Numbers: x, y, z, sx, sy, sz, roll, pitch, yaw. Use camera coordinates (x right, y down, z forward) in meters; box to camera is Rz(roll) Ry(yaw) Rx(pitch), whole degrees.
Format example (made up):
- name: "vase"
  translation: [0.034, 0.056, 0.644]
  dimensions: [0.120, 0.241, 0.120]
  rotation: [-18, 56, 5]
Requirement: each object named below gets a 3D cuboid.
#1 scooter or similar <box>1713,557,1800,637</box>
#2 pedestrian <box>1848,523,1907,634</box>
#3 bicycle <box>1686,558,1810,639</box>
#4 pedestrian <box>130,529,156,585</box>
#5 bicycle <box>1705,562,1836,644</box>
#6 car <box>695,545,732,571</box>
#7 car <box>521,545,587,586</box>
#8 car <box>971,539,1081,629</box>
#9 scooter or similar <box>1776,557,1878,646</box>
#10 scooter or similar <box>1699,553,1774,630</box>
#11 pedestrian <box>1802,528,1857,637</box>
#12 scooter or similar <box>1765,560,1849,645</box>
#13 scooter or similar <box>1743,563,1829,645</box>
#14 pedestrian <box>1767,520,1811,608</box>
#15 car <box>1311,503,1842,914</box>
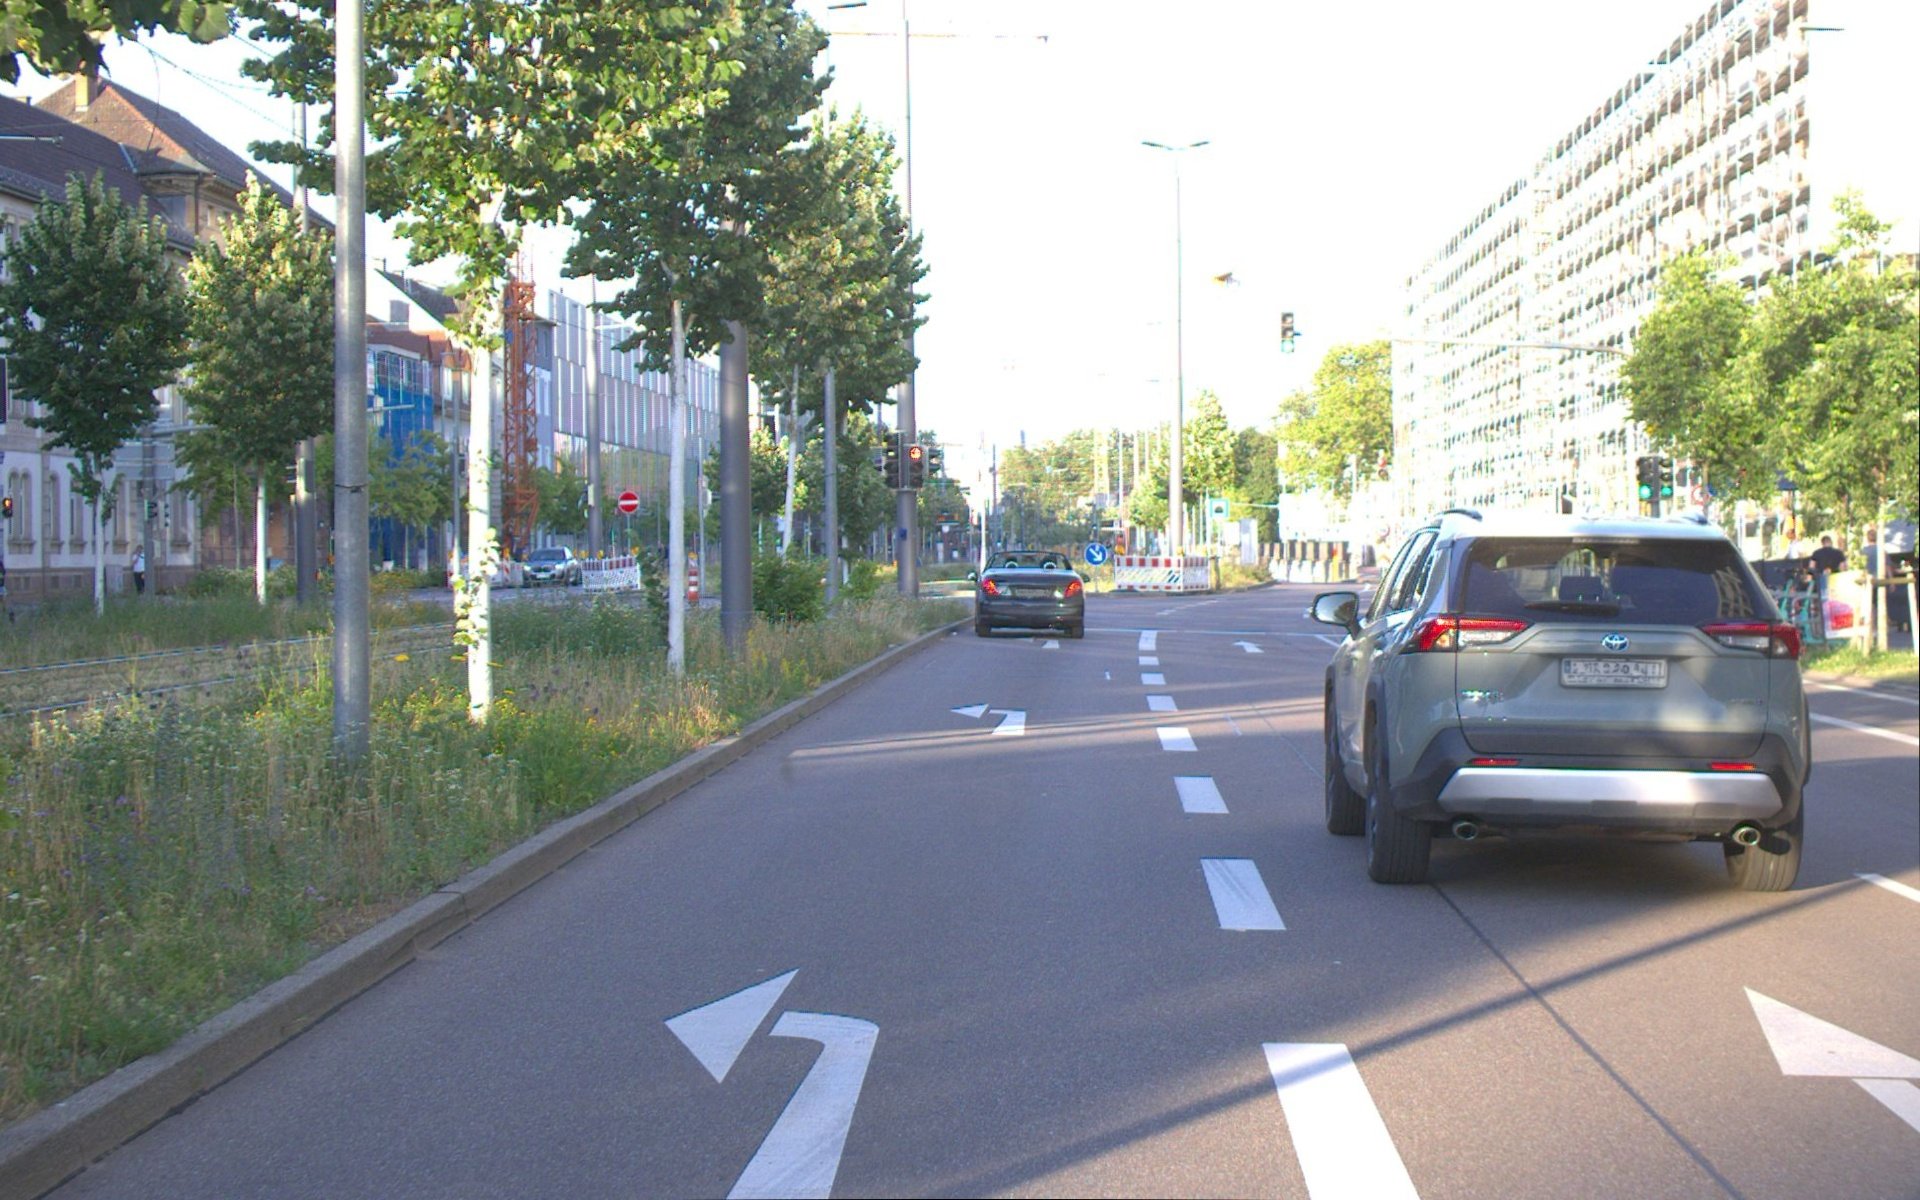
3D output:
- name: "scooter or similar"
  translation: [12.590, -0.048, 54.344]
  dimensions: [1.209, 1.197, 0.480]
  rotation: [-3, 1, -2]
- name: "pedestrian"
  translation: [14.666, -0.349, 54.960]
  dimensions: [0.685, 1.729, 0.761]
  rotation: [-3, 1, 2]
- name: "bicycle"
  translation: [12.570, -0.028, 54.879]
  dimensions: [1.793, 1.189, 0.568]
  rotation: [-3, 1, -2]
- name: "pedestrian"
  translation: [-25.404, -1.324, 106.907]
  dimensions: [0.702, 1.710, 0.813]
  rotation: [1, 1, -17]
- name: "bicycle"
  translation: [12.515, 0.044, 53.128]
  dimensions: [1.846, 1.178, 0.608]
  rotation: [-3, 1, 2]
- name: "car"
  translation: [-14.674, -2.514, 204.899]
  dimensions: [1.658, 1.426, 3.894]
  rotation: [2, 1, 4]
- name: "car"
  translation: [-16.671, -1.426, 141.304]
  dimensions: [1.994, 1.575, 4.124]
  rotation: [-2, 1, 3]
- name: "car"
  translation: [1.087, -0.278, 55.014]
  dimensions: [1.674, 1.347, 4.000]
  rotation: [1, 1, 2]
- name: "scooter or similar"
  translation: [12.535, 0.024, 49.720]
  dimensions: [1.294, 1.214, 0.535]
  rotation: [-3, 0, 26]
- name: "scooter or similar"
  translation: [12.925, -0.141, 57.221]
  dimensions: [1.051, 1.219, 0.598]
  rotation: [-2, 1, -2]
- name: "pedestrian"
  translation: [13.864, -0.285, 54.803]
  dimensions: [0.653, 1.696, 0.689]
  rotation: [-2, 1, 2]
- name: "scooter or similar"
  translation: [12.602, 0.043, 51.154]
  dimensions: [1.129, 1.209, 0.531]
  rotation: [-2, -1, 18]
- name: "scooter or similar"
  translation: [12.476, 0.056, 51.946]
  dimensions: [1.156, 1.187, 0.510]
  rotation: [-2, -1, 4]
- name: "pedestrian"
  translation: [17.622, -0.765, 73.099]
  dimensions: [0.768, 1.841, 0.678]
  rotation: [-1, 1, 2]
- name: "car"
  translation: [2.746, 0.397, 16.260]
  dimensions: [1.834, 1.667, 4.282]
  rotation: [1, 1, 2]
